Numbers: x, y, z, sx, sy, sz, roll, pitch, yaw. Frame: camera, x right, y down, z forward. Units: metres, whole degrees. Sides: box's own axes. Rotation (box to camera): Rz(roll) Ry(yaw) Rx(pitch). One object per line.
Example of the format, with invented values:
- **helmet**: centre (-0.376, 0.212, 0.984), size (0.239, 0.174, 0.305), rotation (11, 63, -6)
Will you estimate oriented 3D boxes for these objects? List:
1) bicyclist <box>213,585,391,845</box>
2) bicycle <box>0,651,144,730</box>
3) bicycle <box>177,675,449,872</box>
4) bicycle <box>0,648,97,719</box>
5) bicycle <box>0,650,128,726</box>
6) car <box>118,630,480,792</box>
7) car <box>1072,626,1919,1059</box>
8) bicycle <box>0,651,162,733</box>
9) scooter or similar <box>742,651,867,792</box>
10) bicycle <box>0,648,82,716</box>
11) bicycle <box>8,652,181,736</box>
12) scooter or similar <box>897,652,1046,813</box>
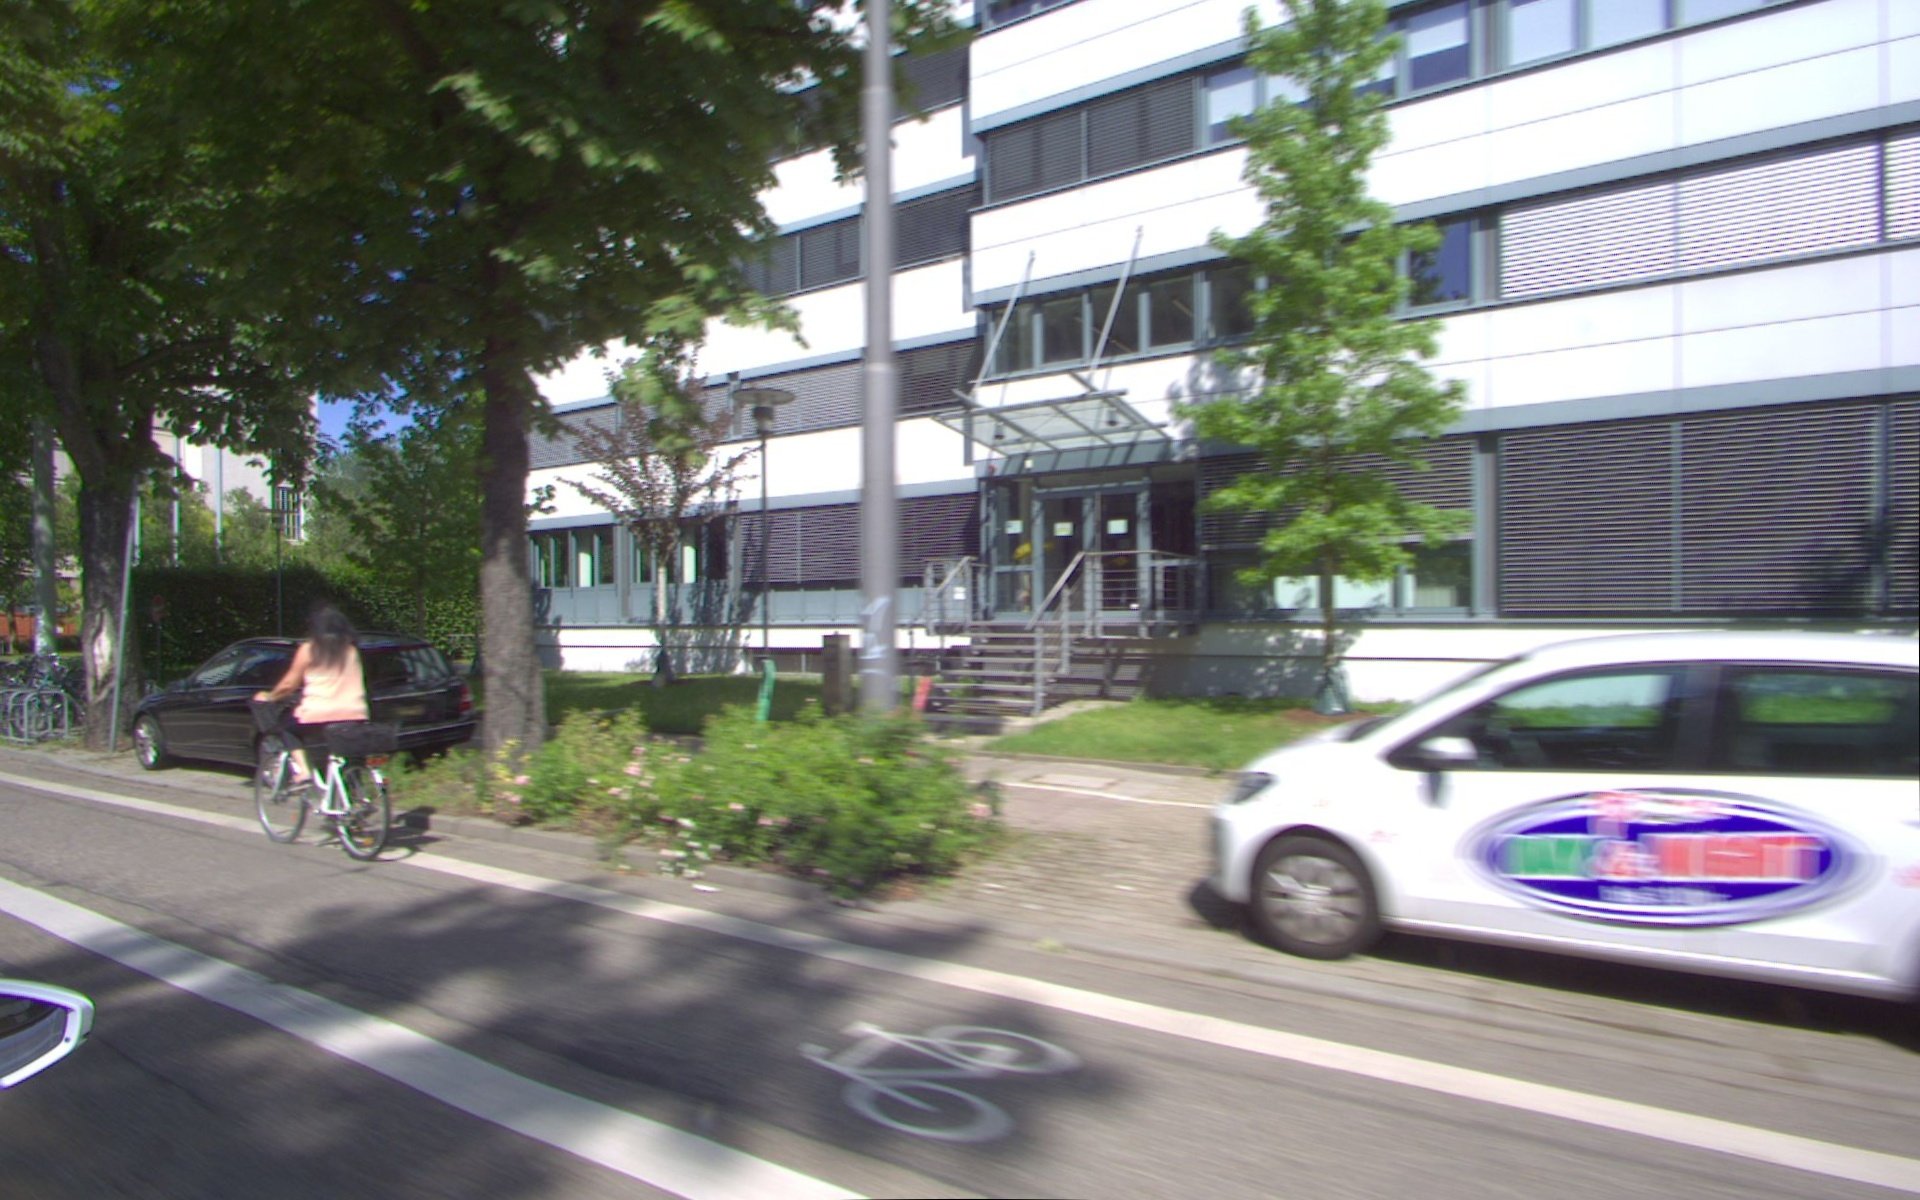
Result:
- **bicyclist**: centre (-4.511, 0.739, 6.882), size (0.727, 1.650, 0.784), rotation (0, 0, 32)
- **bicycle**: centre (-13.024, 1.279, 14.536), size (0.480, 1.023, 1.787), rotation (0, -1, 26)
- **bicycle**: centre (-4.467, 1.103, 6.875), size (1.983, 1.092, 0.809), rotation (-1, -1, 32)
- **bicycle**: centre (-14.580, 1.289, 15.515), size (0.480, 1.023, 1.787), rotation (0, -1, 26)
- **bicycle**: centre (-13.518, 1.282, 14.836), size (0.480, 1.023, 1.787), rotation (0, -1, 26)
- **car**: centre (-7.471, 1.081, 11.179), size (4.567, 1.463, 1.661), rotation (-1, -1, 32)
- **car**: centre (2.639, 0.871, 4.808), size (3.889, 1.470, 1.587), rotation (-1, -1, 32)
- **bicycle**: centre (-12.528, 1.276, 14.257), size (0.480, 1.023, 1.787), rotation (0, -1, 26)
- **scooter or similar**: centre (-1.361, 1.026, 8.717), size (1.075, 1.142, 0.379), rotation (-1, 0, 30)
- **bicycle**: centre (-15.035, 1.291, 15.752), size (0.480, 1.023, 1.787), rotation (0, -1, 26)
- **bicycle**: centre (-12.024, 1.273, 13.981), size (0.480, 1.023, 1.787), rotation (0, -1, 26)
- **scooter or similar**: centre (0.081, 1.012, 7.920), size (1.126, 1.170, 0.386), rotation (-1, 0, 30)
